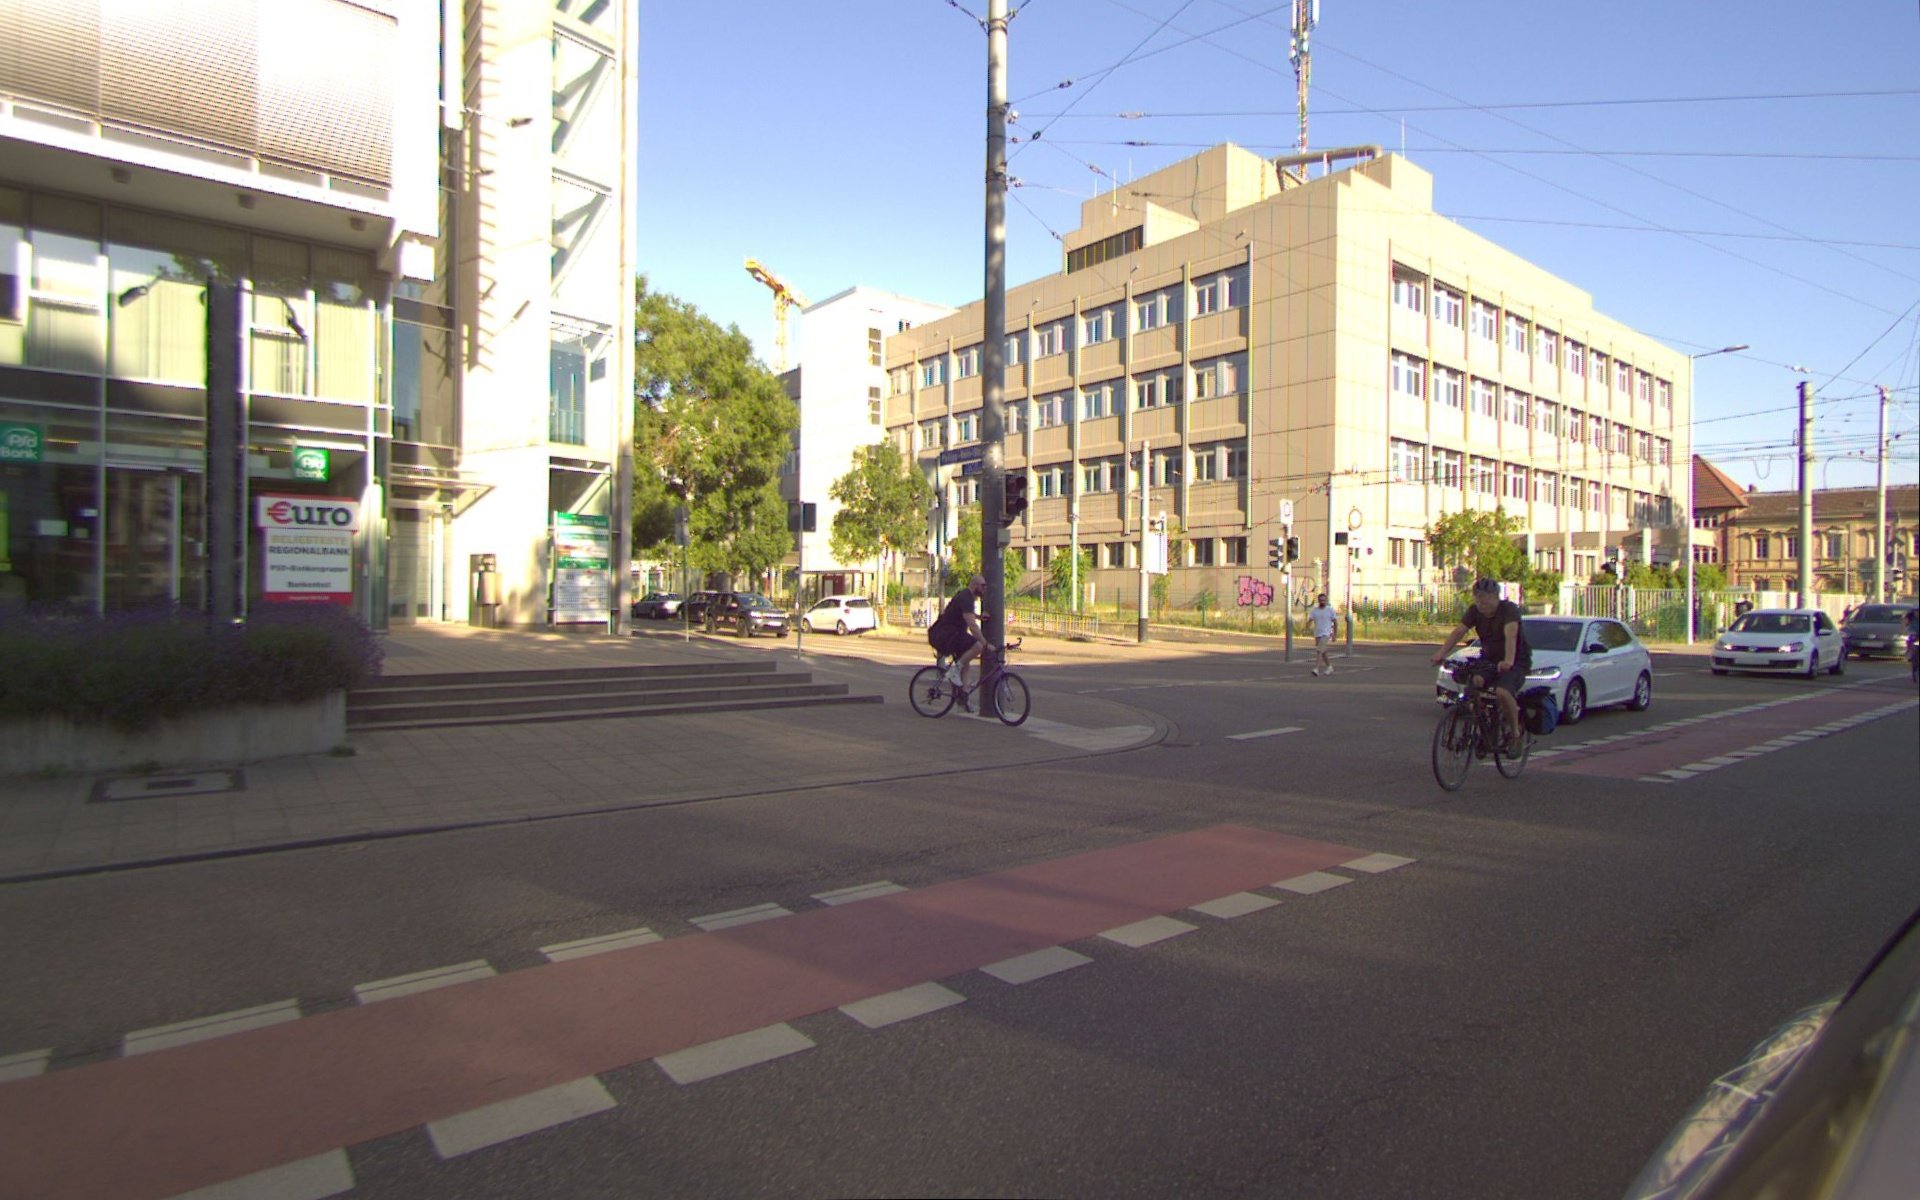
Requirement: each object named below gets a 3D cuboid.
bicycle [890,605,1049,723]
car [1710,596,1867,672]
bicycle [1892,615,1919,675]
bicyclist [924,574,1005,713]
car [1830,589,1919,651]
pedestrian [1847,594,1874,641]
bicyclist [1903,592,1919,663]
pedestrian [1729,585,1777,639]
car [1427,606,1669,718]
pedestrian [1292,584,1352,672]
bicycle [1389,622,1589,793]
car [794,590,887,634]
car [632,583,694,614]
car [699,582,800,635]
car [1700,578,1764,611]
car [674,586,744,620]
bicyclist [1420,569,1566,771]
[{"bbox_3d":[0.128,0.779,12.762,1.840,1.296,0.649,4,1,16],"label":"bicycle"},{"bbox_3d":[18.245,0.722,22.239,4.223,1.522,1.792,1,-2,-39],"label":"car"},{"bbox_3d":[19.617,0.902,20.442,2.264,1.158,0.764,1,0,-37],"label":"bicycle"},{"bbox_3d":[0.066,0.525,12.788,0.851,1.693,0.649,1,0,16],"label":"bicyclist"},{"bbox_3d":[26.518,0.566,28.873,4.223,1.664,1.792,1,-2,-39],"label":"car"},{"bbox_3d":[35.047,0.681,39.384,0.755,1.784,0.593,1,0,-34],"label":"pedestrian"},{"bbox_3d":[19.674,0.550,20.484,0.843,1.440,0.728,1,-1,-37],"label":"bicyclist"},{"bbox_3d":[27.706,0.401,35.366,1.064,1.835,0.735,1,0,8],"label":"pedestrian"},{"bbox_3d":[8.630,0.806,14.725,4.000,1.407,1.705,1,-1,-38],"label":"car"},{"bbox_3d":[7.830,0.586,21.869,0.777,1.846,1.196,1,0,44],"label":"pedestrian"},{"bbox_3d":[4.549,0.850,8.654,1.928,1.297,0.652,1,0,-34],"label":"bicycle"},{"bbox_3d":[-4.946,0.449,41.434,1.964,1.632,3.997,1,1,-39],"label":"car"},{"bbox_3d":[-16.505,-0.117,56.158,1.964,1.621,3.997,1,1,-39],"label":"car"},{"bbox_3d":[-7.721,0.288,36.837,1.951,1.717,3.997,3,0,-39],"label":"car"},{"bbox_3d":[46.625,-0.308,61.115,4.698,1.865,1.998,1,1,-39],"label":"car"},{"bbox_3d":[-12.765,0.136,51.409,1.964,1.621,3.997,1,1,-39],"label":"car"},{"bbox_3d":[4.570,0.561,8.674,1.067,1.623,0.652,1,0,-34],"label":"bicyclist"}]
